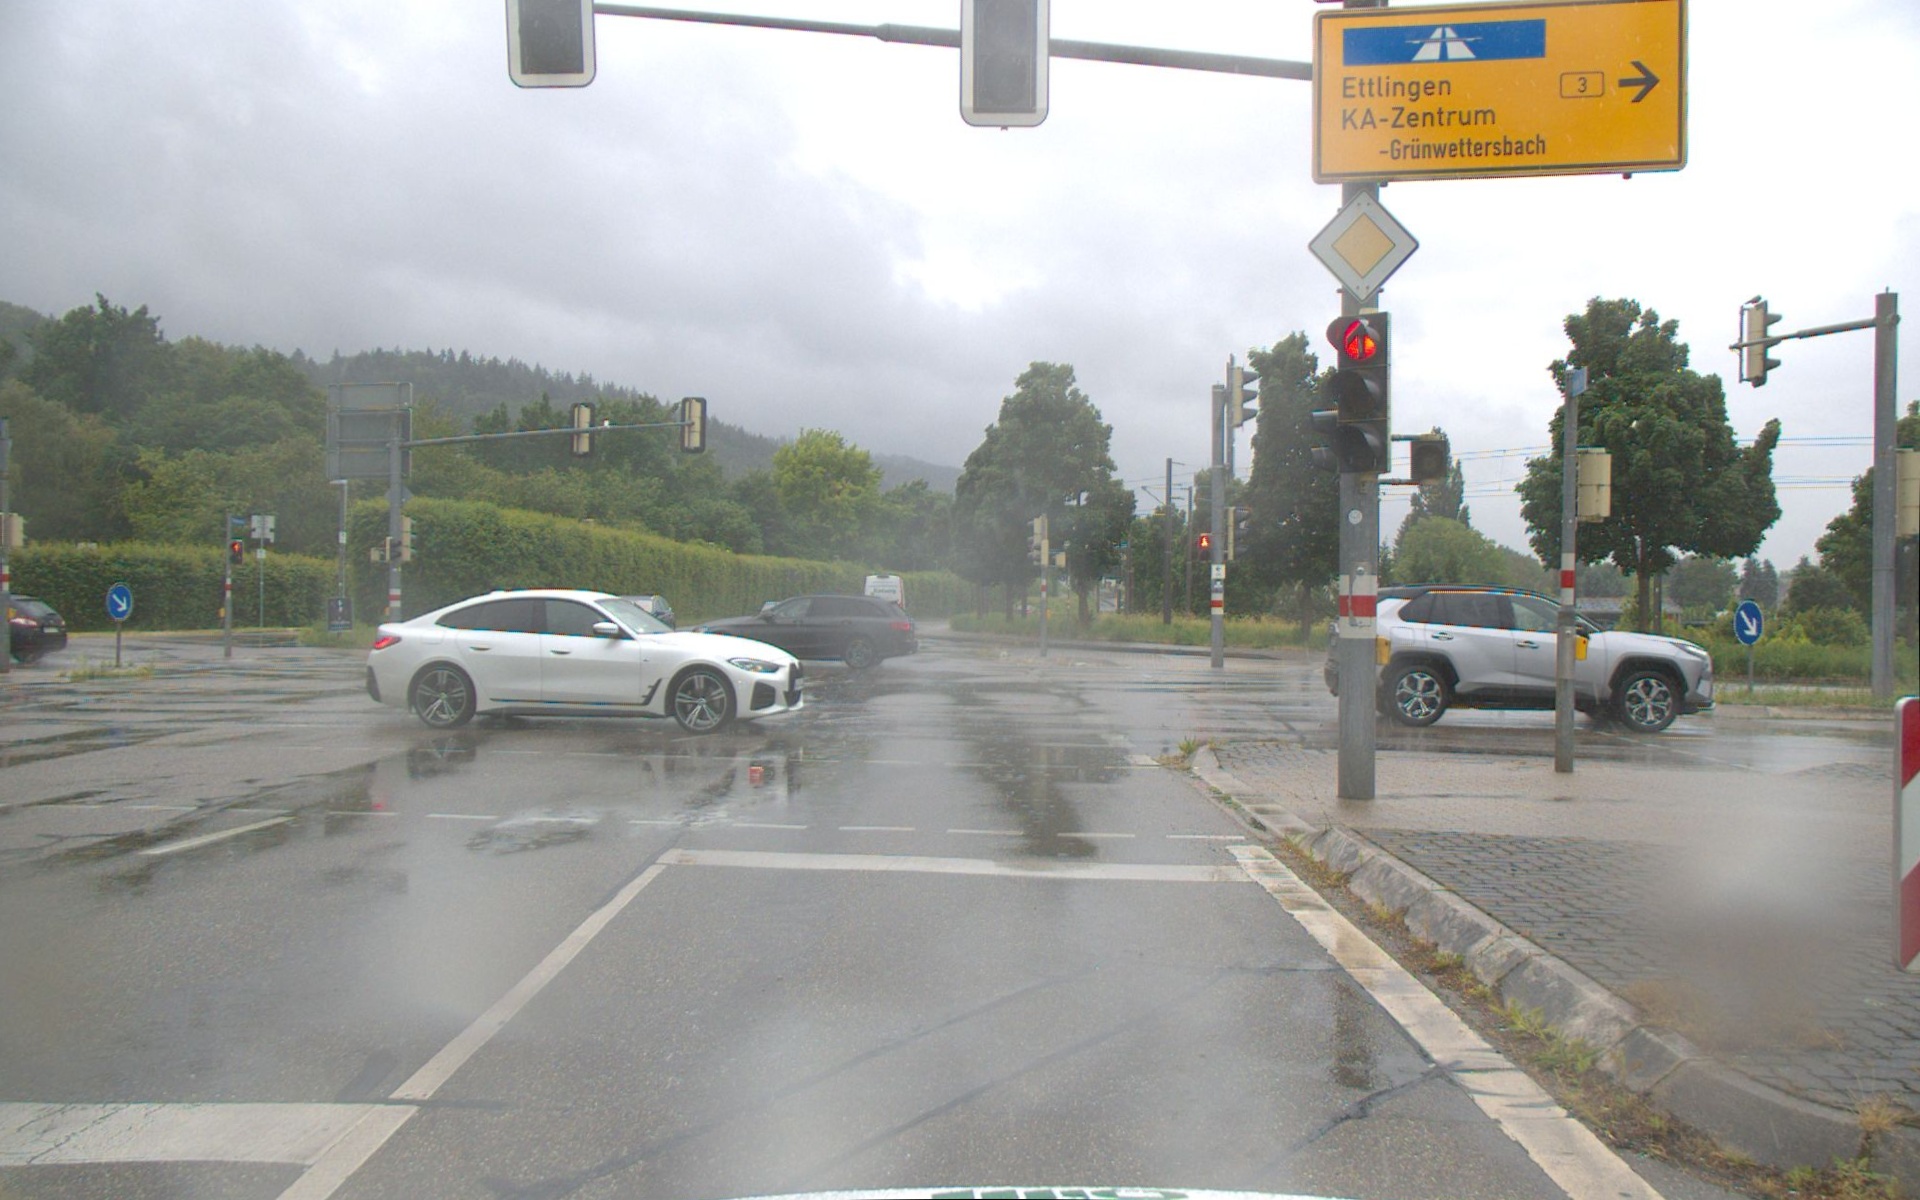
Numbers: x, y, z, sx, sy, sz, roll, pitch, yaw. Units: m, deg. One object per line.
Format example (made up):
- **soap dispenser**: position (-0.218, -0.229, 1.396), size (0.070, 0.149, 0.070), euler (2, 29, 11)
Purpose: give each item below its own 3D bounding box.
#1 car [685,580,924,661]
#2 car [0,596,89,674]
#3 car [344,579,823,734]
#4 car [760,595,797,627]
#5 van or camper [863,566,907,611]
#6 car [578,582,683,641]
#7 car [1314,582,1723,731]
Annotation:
- **car**: position (-3.083, 0.384, 33.441), size (4.572, 1.580, 1.823), euler (0, 0, 3)
- **car**: position (-21.019, 0.702, 34.691), size (4.572, 1.580, 1.823), euler (0, 0, 3)
- **car**: position (-4.031, 0.562, 18.095), size (4.778, 1.580, 1.801), euler (0, 0, 7)
- **car**: position (-9.121, 0.529, 83.247), size (1.526, 1.507, 3.360), euler (1, 1, -1)
- **van or camper**: position (-3.824, -0.595, 84.922), size (2.109, 2.207, 4.864), euler (1, 1, -1)
- **car**: position (-9.618, 0.322, 48.659), size (1.839, 1.601, 4.647), euler (-1, 0, 4)
- **car**: position (6.719, 0.641, 20.338), size (4.431, 1.607, 1.914), euler (1, 1, 7)
